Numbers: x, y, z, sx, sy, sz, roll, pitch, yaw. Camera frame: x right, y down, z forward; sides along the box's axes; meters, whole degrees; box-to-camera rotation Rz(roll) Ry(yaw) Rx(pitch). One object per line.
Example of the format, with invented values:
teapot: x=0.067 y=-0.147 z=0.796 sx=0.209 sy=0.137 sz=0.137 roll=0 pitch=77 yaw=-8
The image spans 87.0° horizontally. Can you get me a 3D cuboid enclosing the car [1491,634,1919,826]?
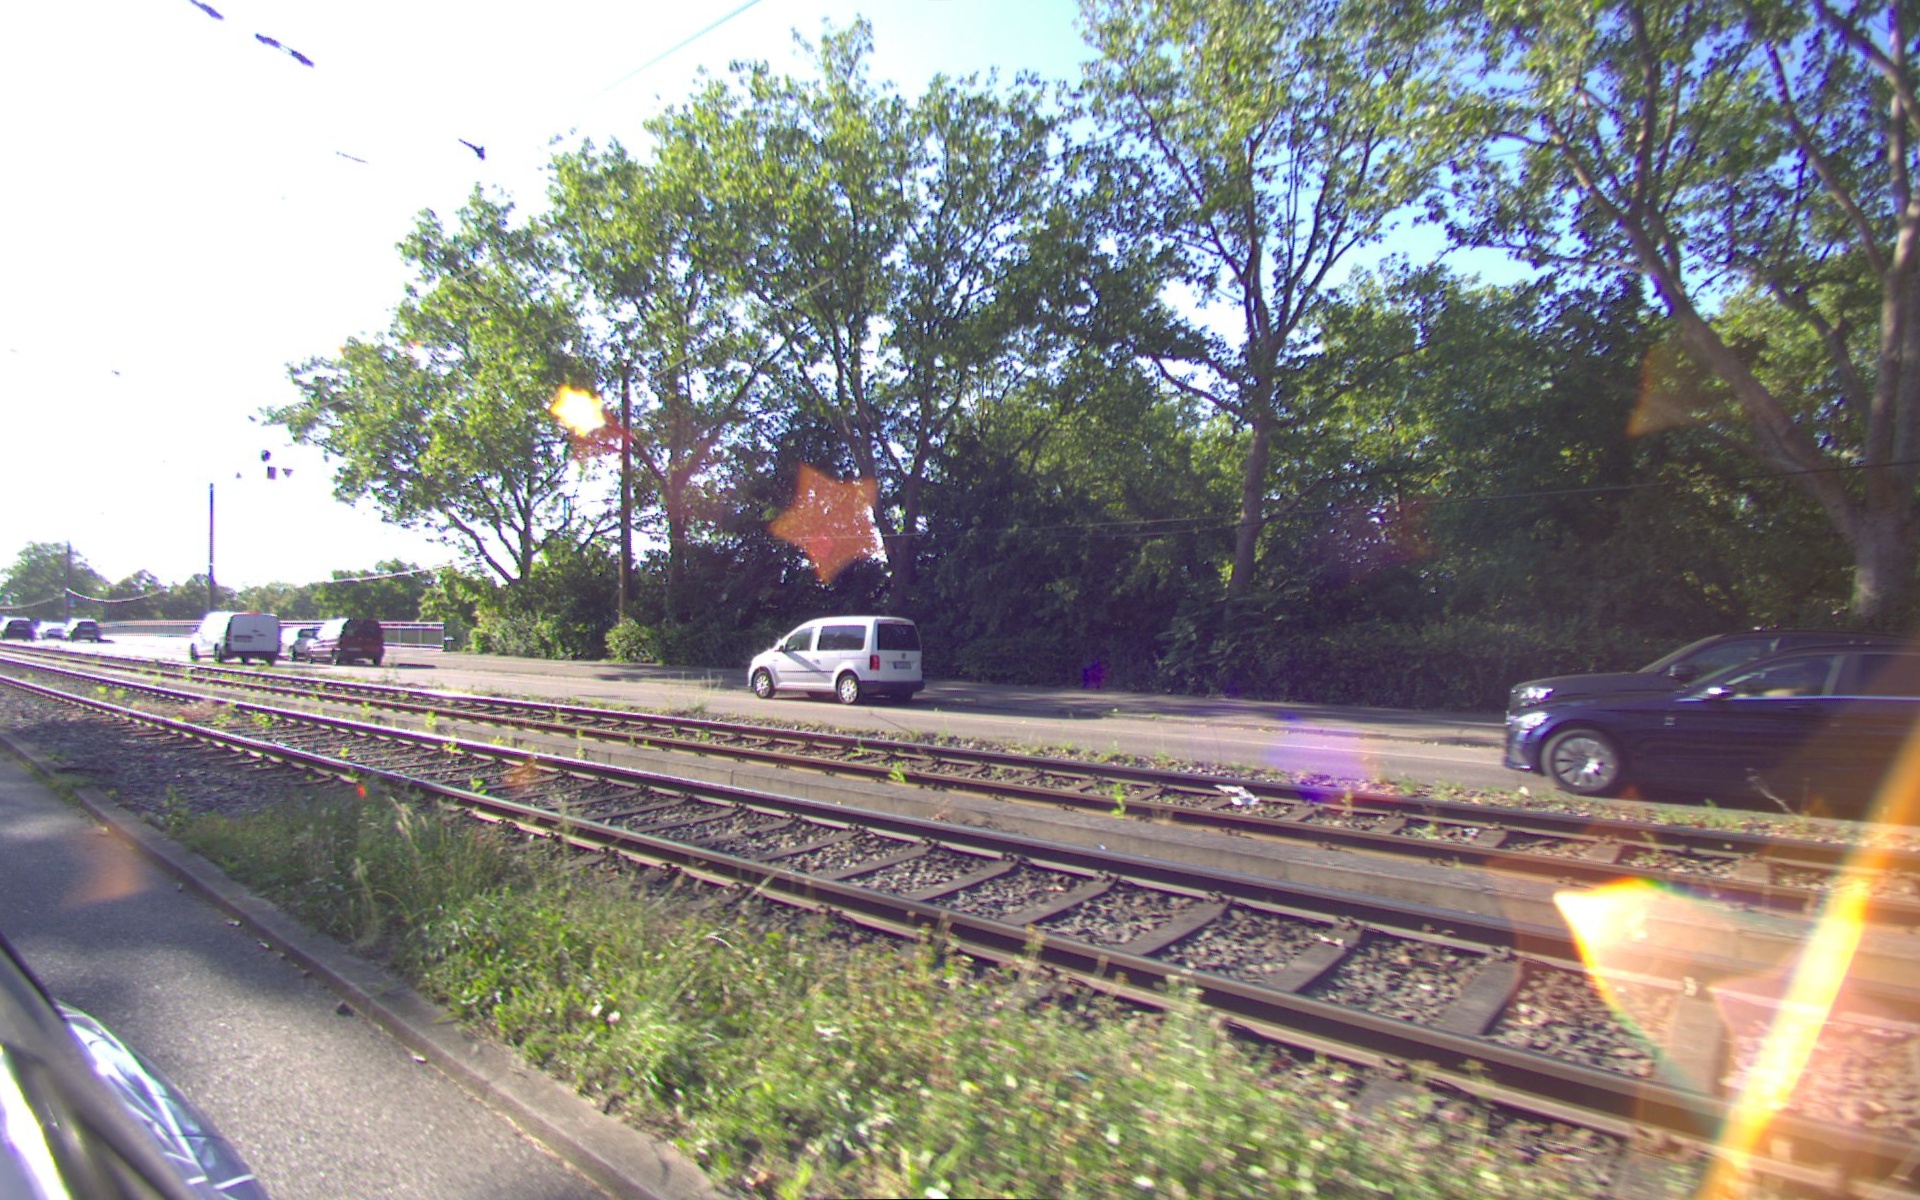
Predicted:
car: x=7.451 y=1.063 z=8.812 sx=4.744 sy=1.426 sz=1.901 roll=-1 pitch=-4 yaw=39

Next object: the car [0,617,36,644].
car: x=-68.769 y=2.181 z=73.343 sx=4.958 sy=1.866 sz=1.963 roll=-1 pitch=-4 yaw=40

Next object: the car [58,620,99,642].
car: x=-64.491 y=2.258 z=74.033 sx=3.923 sy=1.511 sz=1.637 roll=-1 pitch=-4 yaw=41

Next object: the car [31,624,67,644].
car: x=-73.255 y=2.730 z=81.362 sx=3.922 sy=1.511 sz=1.637 roll=-1 pitch=-4 yaw=40

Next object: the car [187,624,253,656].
car: x=-36.873 y=1.981 z=50.404 sx=3.920 sy=1.511 sz=1.638 roll=-1 pitch=-3 yaw=38

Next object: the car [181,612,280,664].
car: x=-27.835 y=1.442 z=38.575 sx=5.032 sy=1.866 sz=1.808 roll=-1 pitch=-4 yaw=40

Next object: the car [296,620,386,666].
car: x=-24.429 y=1.684 z=39.900 sx=3.895 sy=1.753 sz=1.713 roll=-1 pitch=-3 yaw=38

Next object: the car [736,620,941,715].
car: x=-2.695 y=1.383 z=21.870 sx=4.389 sy=1.855 sz=1.809 roll=-1 pitch=-3 yaw=38

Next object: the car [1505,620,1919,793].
car: x=8.914 y=1.131 z=11.771 sx=4.383 sy=1.732 sz=1.812 roll=-1 pitch=-3 yaw=34

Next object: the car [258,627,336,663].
car: x=-28.488 y=1.910 z=43.470 sx=3.780 sy=1.453 sz=1.638 roll=-1 pitch=-3 yaw=38
